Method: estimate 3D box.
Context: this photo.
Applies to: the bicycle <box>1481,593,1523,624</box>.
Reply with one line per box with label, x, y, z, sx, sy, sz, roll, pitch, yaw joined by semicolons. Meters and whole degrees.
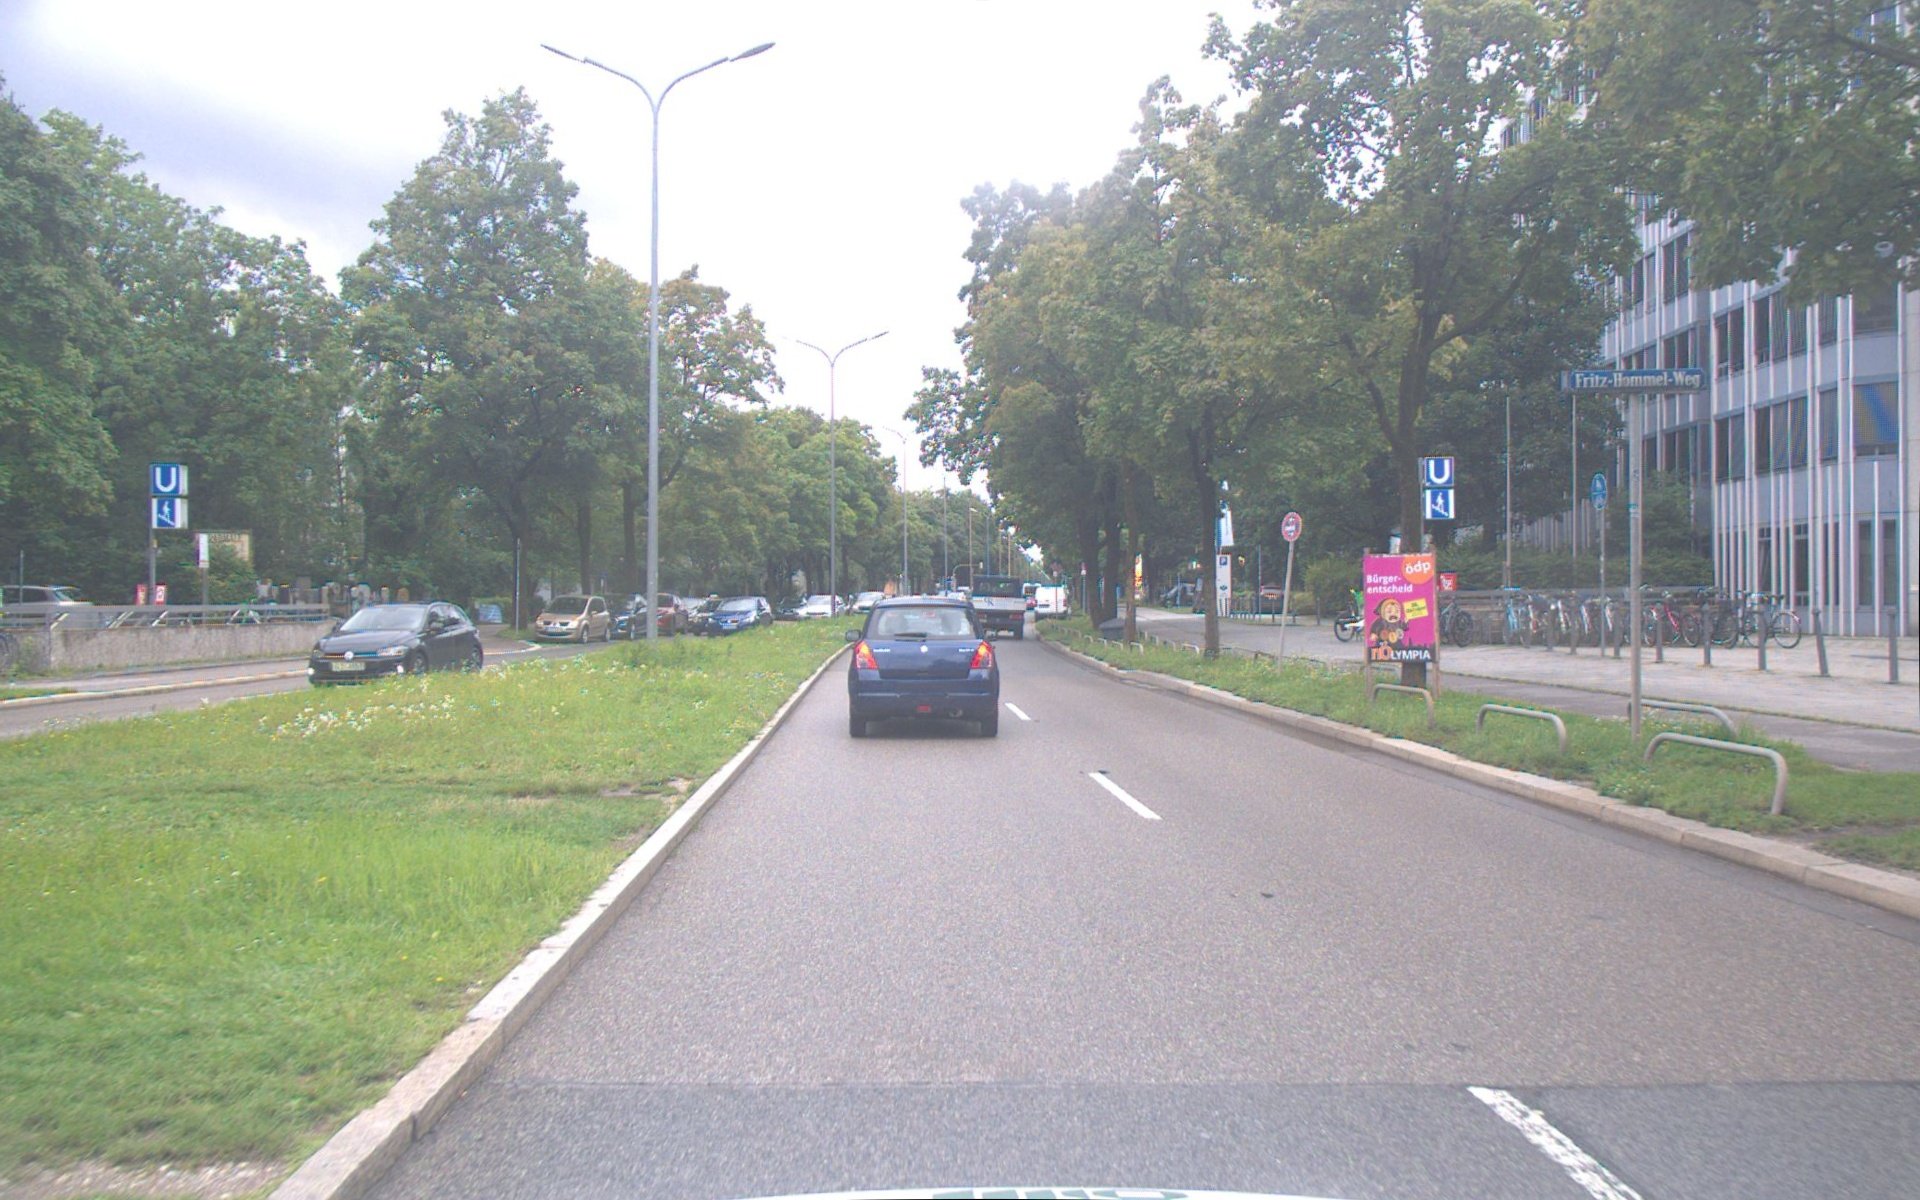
bicycle;16.795;0.255;51.300;0.668;0.868;1.834;-1;2;-1

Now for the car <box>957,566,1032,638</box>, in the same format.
car;1.315;0.055;60.067;2.367;2.487;5.090;1;0;5

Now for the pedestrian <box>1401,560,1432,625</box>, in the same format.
pedestrian;12.503;-0.209;45.334;0.766;1.744;0.751;-1;0;13

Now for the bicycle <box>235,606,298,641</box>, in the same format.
bicycle;-20.976;0.704;50.045;1.725;1.024;0.437;-1;0;3

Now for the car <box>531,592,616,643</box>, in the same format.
car;-12.916;0.561;55.455;1.612;1.642;3.821;1;0;5

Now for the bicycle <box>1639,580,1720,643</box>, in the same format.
bicycle;14.287;0.209;32.892;0.437;1.210;2.138;-1;0;-7

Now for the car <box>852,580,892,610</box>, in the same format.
car;-5.028;-0.285;95.043;1.729;1.653;4.378;-1;0;4

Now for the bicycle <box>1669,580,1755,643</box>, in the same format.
bicycle;14.836;0.216;32.700;0.501;1.210;2.138;-1;0;-7

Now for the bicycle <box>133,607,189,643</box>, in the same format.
bicycle;-23.841;0.726;49.388;0.566;1.024;2.033;-1;0;4

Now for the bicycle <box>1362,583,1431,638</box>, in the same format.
bicycle;10.424;0.242;39.448;1.938;1.127;0.571;-6;4;-42

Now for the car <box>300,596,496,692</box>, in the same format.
car;-9.281;0.676;27.675;1.745;1.430;4.103;-1;0;2

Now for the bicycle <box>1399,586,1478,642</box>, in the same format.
bicycle;10.388;0.290;35.878;2.023;1.108;0.595;-3;-2;-42

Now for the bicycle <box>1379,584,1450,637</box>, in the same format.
bicycle;10.527;0.228;38.279;1.938;1.102;0.588;-4;2;-42

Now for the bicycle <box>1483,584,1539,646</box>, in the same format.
bicycle;11.111;0.295;33.395;0.477;1.210;1.954;-1;0;0

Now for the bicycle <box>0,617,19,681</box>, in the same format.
bicycle;-17.010;0.866;28.358;0.399;1.096;1.956;3;1;6

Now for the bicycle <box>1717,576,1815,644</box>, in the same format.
bicycle;16.205;0.183;33.322;0.498;1.317;2.474;-1;0;-7

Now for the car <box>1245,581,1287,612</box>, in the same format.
car;18.545;-0.222;100.399;1.804;1.850;4.473;-1;0;2

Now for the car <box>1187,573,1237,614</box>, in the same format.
car;15.212;-0.417;100.018;2.218;2.347;6.270;-1;0;2

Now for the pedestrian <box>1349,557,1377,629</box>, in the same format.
pedestrian;10.971;-0.201;45.045;0.638;1.932;0.749;-1;0;20

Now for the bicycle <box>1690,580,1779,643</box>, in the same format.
bicycle;15.471;0.221;33.100;0.566;1.210;2.138;-1;0;-7

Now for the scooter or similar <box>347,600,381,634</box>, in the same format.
scooter or similar;-20.723;0.576;57.524;0.426;1.146;1.290;-1;0;16

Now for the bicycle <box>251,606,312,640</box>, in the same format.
bicycle;-21.138;0.702;51.554;1.725;1.024;0.437;-1;0;3

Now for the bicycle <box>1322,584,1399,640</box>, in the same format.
bicycle;9.718;0.289;40.098;1.929;1.209;0.591;-4;2;-31

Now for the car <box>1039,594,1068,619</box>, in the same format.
car;5.643;0.370;99.358;1.666;1.422;4.235;-1;0;4

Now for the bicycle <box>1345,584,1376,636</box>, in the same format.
bicycle;10.392;0.253;42.980;0.519;1.248;1.863;-3;2;7

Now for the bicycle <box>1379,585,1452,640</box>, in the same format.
bicycle;10.156;0.271;36.839;1.938;1.084;0.571;-4;1;-42

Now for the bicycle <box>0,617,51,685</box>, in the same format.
bicycle;-16.492;0.885;28.372;0.399;1.108;2.086;3;1;6

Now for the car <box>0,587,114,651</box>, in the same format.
car;-24.648;0.502;43.491;3.903;1.617;1.750;-1;0;5

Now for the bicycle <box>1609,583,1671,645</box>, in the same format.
bicycle;13.618;0.266;33.160;0.436;1.210;1.954;-1;0;0

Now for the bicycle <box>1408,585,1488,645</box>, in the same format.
bicycle;10.137;0.310;34.299;2.015;1.118;0.571;-3;0;-43

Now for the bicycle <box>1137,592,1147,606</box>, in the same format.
bicycle;16.137;-0.100;146.582;0.732;1.203;2.248;-1;0;4

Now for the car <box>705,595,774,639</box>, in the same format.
car;-7.513;0.550;56.587;1.656;1.427;3.969;-1;0;2

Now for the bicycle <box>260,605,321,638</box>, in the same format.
bicycle;-21.108;0.680;52.147;1.725;1.024;0.437;-1;0;3

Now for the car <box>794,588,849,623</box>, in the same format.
car;-6.350;0.238;76.318;1.875;1.510;4.866;-1;0;2

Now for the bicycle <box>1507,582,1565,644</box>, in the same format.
bicycle;11.620;0.243;33.411;0.477;1.210;1.954;-1;0;0

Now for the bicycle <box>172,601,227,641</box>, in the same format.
bicycle;-22.722;0.618;49.478;0.566;1.118;2.033;-1;0;4

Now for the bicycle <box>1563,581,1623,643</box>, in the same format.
bicycle;12.784;0.230;33.453;0.477;1.210;1.954;-1;0;0

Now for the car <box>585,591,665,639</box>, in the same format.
car;-12.392;0.533;61.410;1.702;1.672;4.687;1;0;4

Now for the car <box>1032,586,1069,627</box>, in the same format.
car;5.128;0.339;93.033;1.945;2.195;5.558;-1;0;4

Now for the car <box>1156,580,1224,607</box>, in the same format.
car;18.864;-0.531;136.065;5.355;2.120;2.148;-1;0;3

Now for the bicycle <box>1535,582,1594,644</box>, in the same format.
bicycle;12.190;0.242;33.401;0.477;1.210;1.954;-1;0;0

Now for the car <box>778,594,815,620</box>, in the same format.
car;-9.876;0.412;99.960;1.547;1.448;4.364;2;0;3

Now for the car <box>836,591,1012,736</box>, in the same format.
car;-0.356;0.661;19.241;1.857;1.525;3.660;0;0;1

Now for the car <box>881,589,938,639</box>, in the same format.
car;-1.660;0.431;53.584;1.763;1.525;3.658;-1;0;-3

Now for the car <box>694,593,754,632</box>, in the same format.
car;-9.457;0.487;66.452;1.656;1.510;3.969;-1;0;2

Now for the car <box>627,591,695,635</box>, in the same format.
car;-12.091;0.502;67.146;1.703;1.680;4.608;2;0;2

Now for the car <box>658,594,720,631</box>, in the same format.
car;-11.788;0.535;72.155;1.702;1.508;4.336;2;0;4
